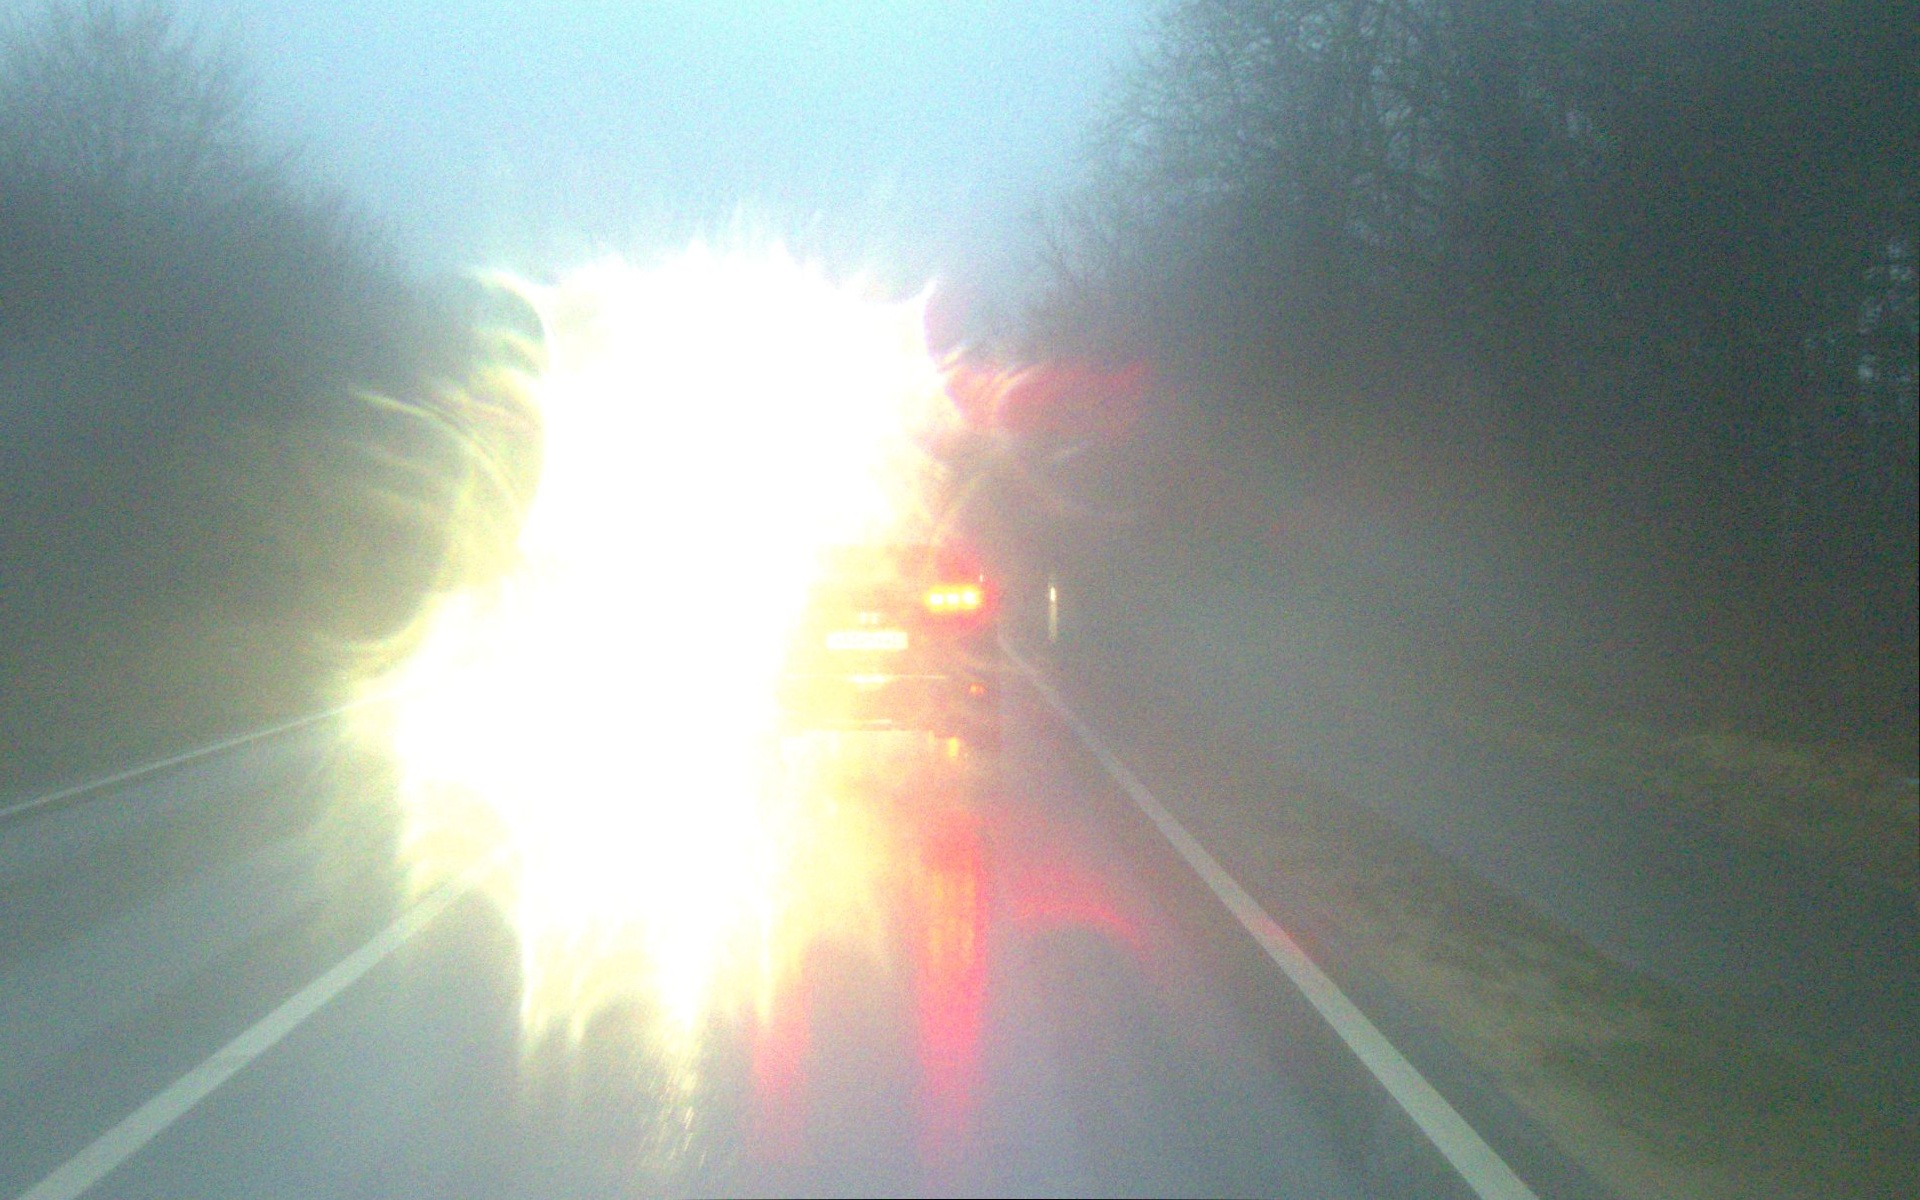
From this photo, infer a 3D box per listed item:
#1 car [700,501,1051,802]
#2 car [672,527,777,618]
[{"bbox_3d":[-0.592,0.295,24.248,2.198,1.871,4.827,1,1,-1],"label":"car"},{"bbox_3d":[-4.370,-0.534,64.226,1.694,1.555,4.129,1,2,-1],"label":"car"}]
